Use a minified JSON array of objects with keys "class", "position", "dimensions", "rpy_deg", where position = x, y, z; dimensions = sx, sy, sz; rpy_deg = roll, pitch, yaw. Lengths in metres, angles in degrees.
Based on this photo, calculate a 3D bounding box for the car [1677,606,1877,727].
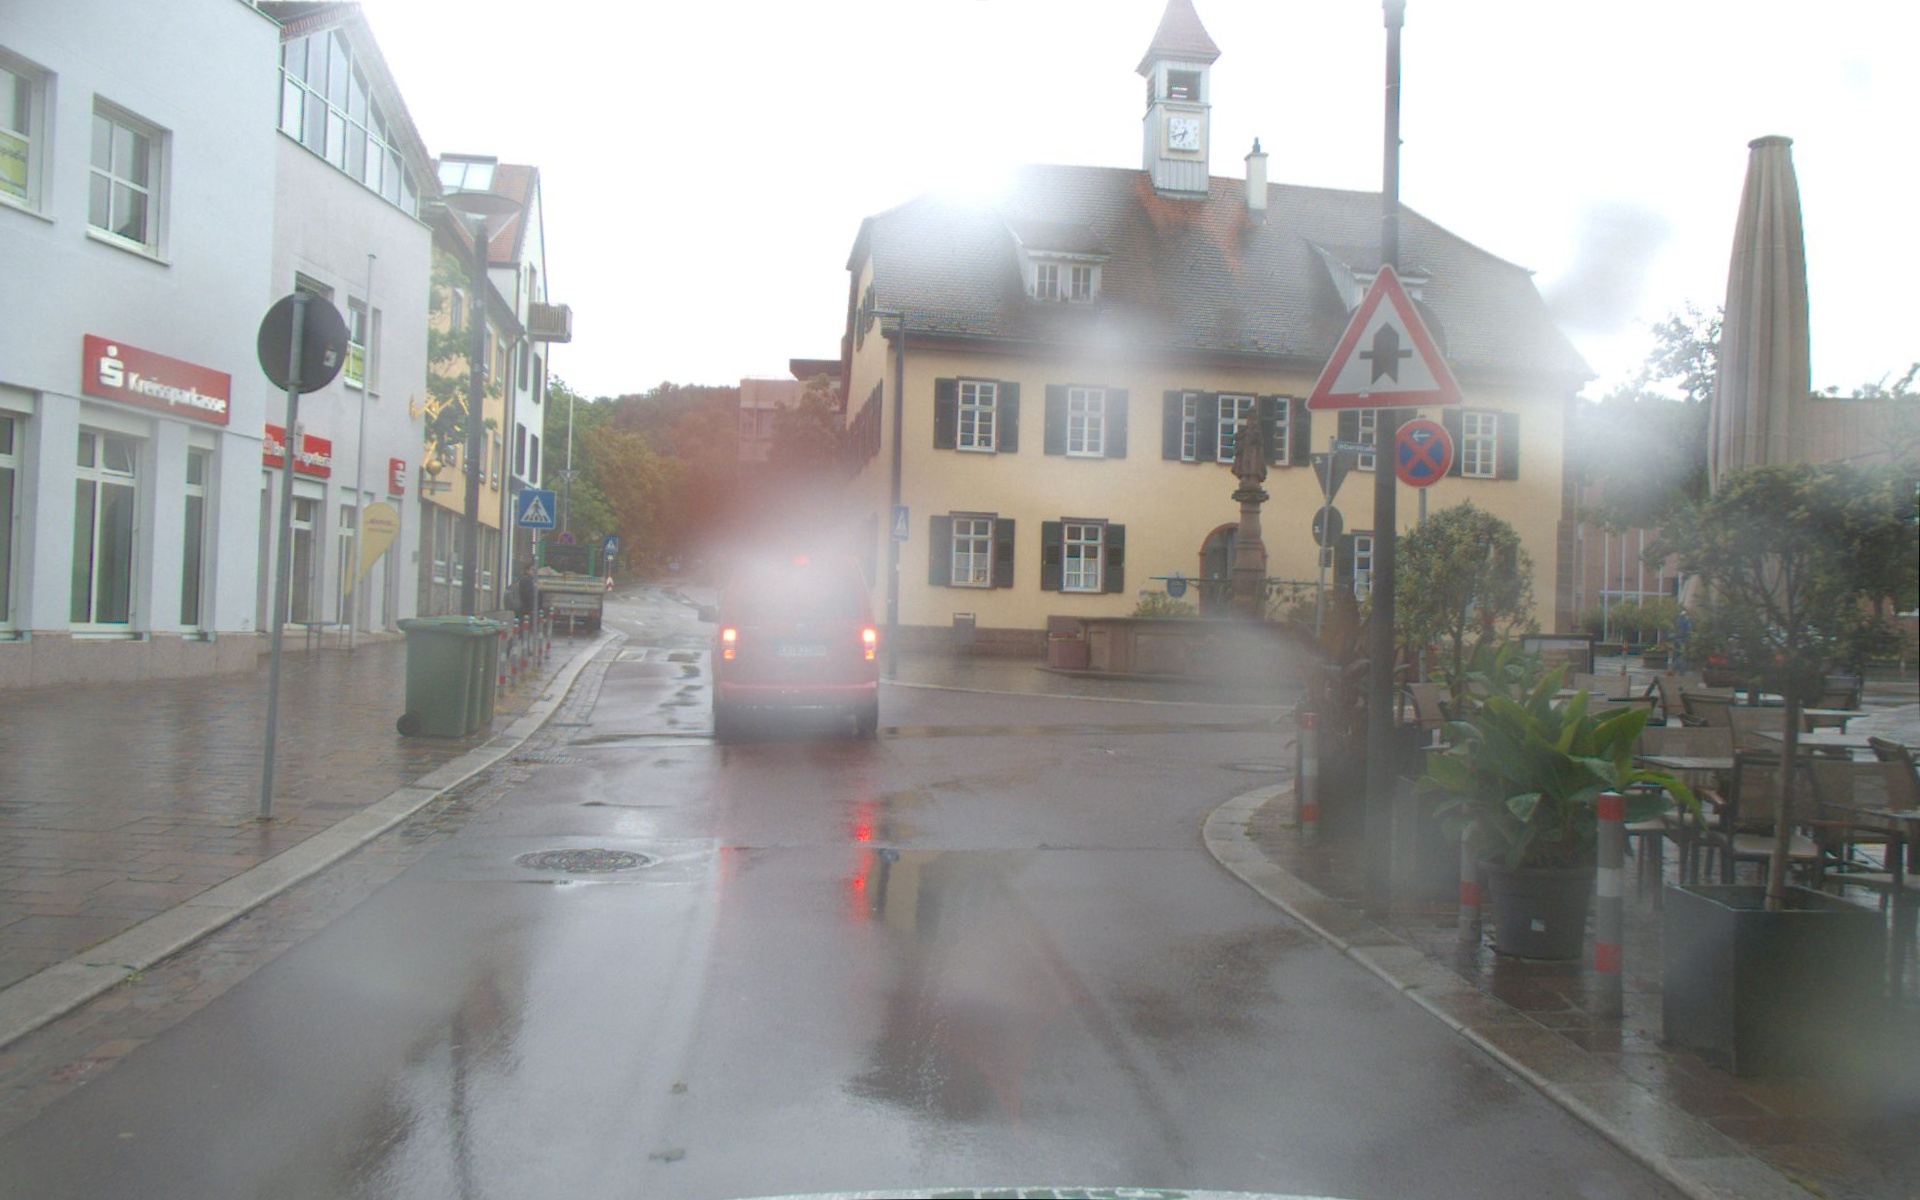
[{"class":"car","position":[13.694,1.127,27.624],"dimensions":[1.965,1.831,3.974],"rpy_deg":[1,-2,42]}]

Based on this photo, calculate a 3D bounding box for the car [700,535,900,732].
[{"class":"car","position":[-1.876,0.299,18.259],"dimensions":[1.859,1.843,3.992],"rpy_deg":[3,1,-9]}]

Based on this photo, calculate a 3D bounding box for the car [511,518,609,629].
[{"class":"car","position":[-10.789,-0.601,45.088],"dimensions":[2.259,2.647,6.936],"rpy_deg":[3,-2,-12]}]

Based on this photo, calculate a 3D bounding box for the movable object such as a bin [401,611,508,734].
[{"class":"movable object such as a bin","position":[-4.892,0.696,16.055],"dimensions":[0.778,1.125,0.721],"rpy_deg":[3,-2,-3]}]

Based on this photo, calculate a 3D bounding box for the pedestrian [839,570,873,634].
[{"class":"pedestrian","position":[-3.104,0.067,49.430],"dimensions":[0.747,1.874,0.902],"rpy_deg":[2,-2,10]}]

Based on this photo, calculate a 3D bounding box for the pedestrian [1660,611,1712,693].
[{"class":"pedestrian","position":[17.253,1.231,39.316],"dimensions":[0.879,1.874,0.767],"rpy_deg":[2,-2,6]}]

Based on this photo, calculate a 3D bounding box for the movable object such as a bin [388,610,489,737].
[{"class":"movable object such as a bin","position":[-4.829,0.678,15.347],"dimensions":[0.700,1.125,0.599],"rpy_deg":[3,-2,-3]}]
